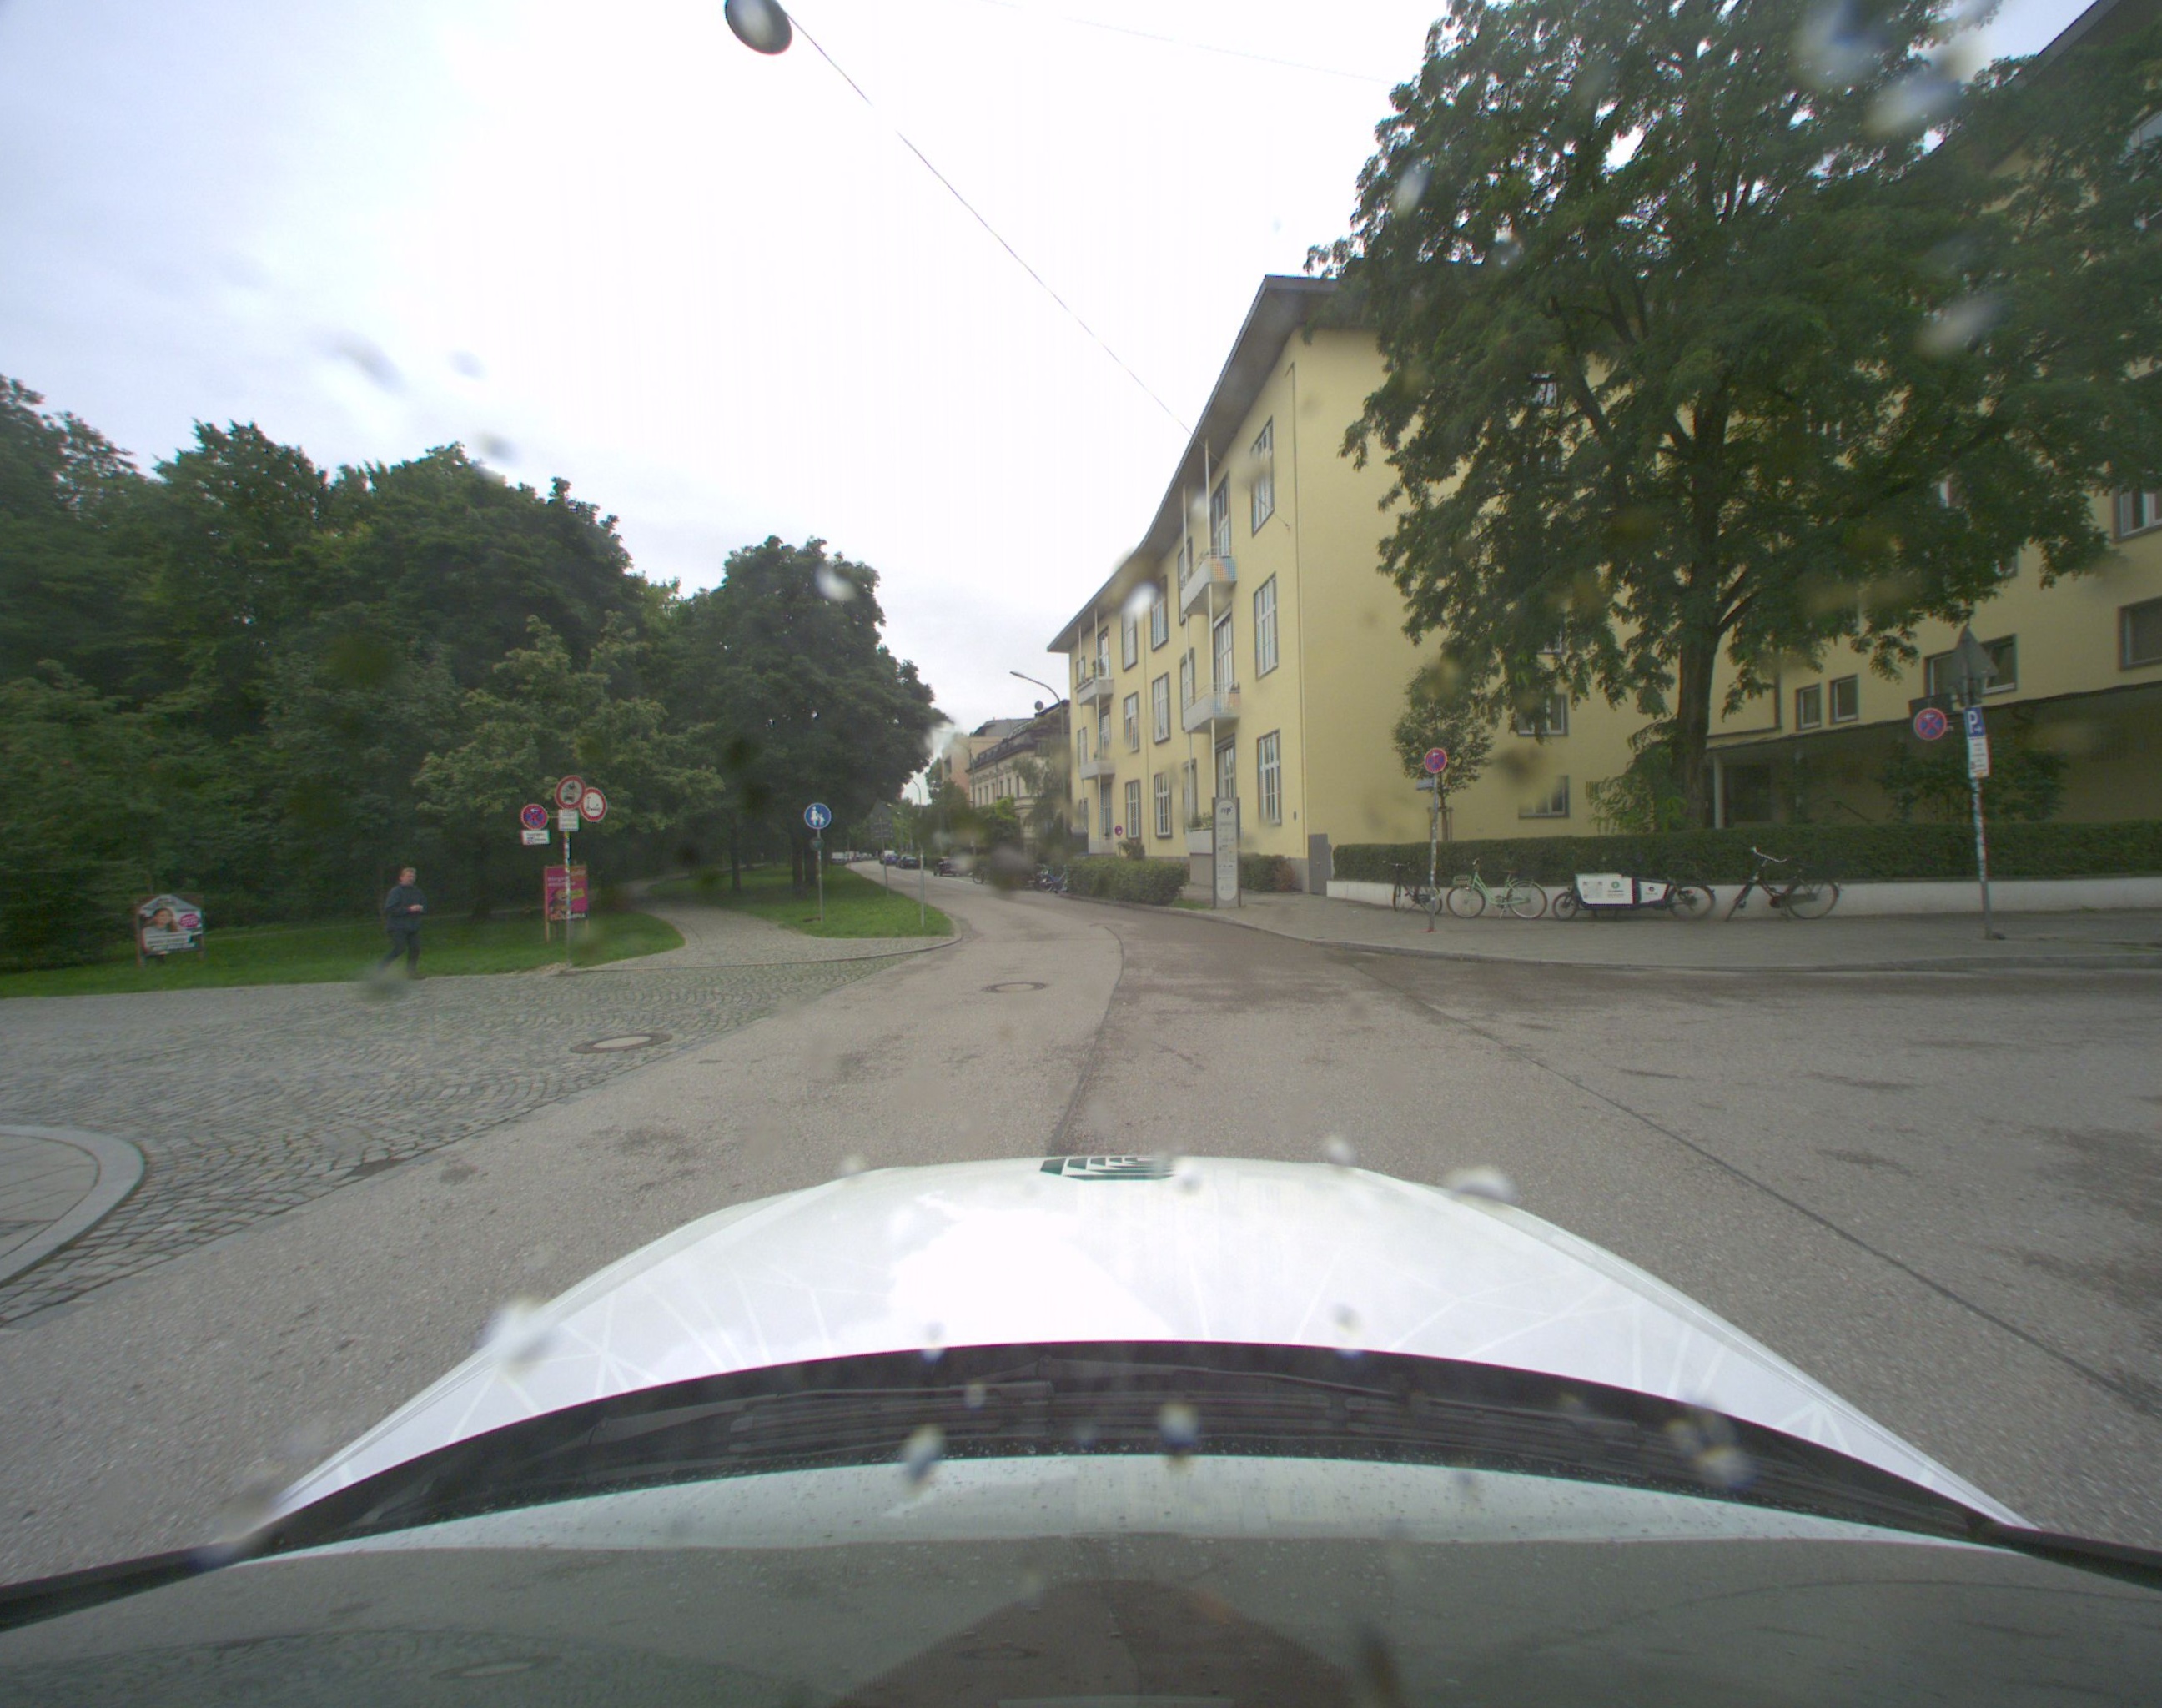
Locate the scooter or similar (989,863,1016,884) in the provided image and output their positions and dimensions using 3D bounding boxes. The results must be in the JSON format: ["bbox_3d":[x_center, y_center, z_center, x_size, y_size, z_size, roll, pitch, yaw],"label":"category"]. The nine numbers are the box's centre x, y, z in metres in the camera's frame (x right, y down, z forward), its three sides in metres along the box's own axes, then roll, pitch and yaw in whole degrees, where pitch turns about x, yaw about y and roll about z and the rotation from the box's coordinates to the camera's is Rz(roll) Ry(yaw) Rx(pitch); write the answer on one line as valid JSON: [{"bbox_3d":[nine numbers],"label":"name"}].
[{"bbox_3d":[-4.386,1.106,45.699,1.400,1.088,0.597,-2,0,0],"label":"scooter or similar"}]

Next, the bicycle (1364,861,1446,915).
[{"bbox_3d":[7.047,0.712,17.863,0.608,1.072,2.210,-2,0,-9],"label":"bicycle"}]

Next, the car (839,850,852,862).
[{"bbox_3d":[-39.268,0.394,135.823,1.999,1.837,3.976,-3,0,-17],"label":"car"}]

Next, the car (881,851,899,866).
[{"bbox_3d":[-24.700,0.654,105.373,1.881,1.816,3.975,-3,0,-18],"label":"car"}]

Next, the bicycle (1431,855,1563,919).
[{"bbox_3d":[7.846,0.606,15.480,0.612,1.117,2.194,-1,0,-34],"label":"bicycle"}]

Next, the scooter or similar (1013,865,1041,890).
[{"bbox_3d":[-2.546,1.092,38.441,0.490,1.088,1.419,-2,0,35],"label":"scooter or similar"}]

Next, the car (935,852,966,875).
[{"bbox_3d":[-9.971,0.724,62.070,1.867,1.633,4.261,-3,0,-15],"label":"car"}]

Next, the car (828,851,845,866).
[{"bbox_3d":[-31.162,0.600,103.796,1.999,1.837,3.976,-3,0,-17],"label":"car"}]

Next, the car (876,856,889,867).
[{"bbox_3d":[-30.630,1.170,125.545,1.649,1.652,4.259,-1,0,-17],"label":"car"}]

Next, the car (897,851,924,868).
[{"bbox_3d":[-18.063,0.609,86.118,2.183,1.657,4.478,-3,0,-18],"label":"car"}]

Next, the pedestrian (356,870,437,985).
[{"bbox_3d":[-10.916,1.142,13.014,0.730,1.752,0.656,-2,0,-14],"label":"pedestrian"}]

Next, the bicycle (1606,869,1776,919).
[{"bbox_3d":[10.128,0.665,13.625,2.189,0.779,0.614,-1,0,28],"label":"bicycle"}]

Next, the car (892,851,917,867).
[{"bbox_3d":[-19.930,0.606,91.721,2.183,1.657,4.478,-3,0,-18],"label":"car"}]

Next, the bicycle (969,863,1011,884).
[{"bbox_3d":[-5.304,1.144,47.532,2.341,1.085,0.687,-2,0,-23],"label":"bicycle"}]

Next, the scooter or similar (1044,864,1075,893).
[{"bbox_3d":[-0.870,1.020,33.730,0.490,1.109,1.419,-2,0,35],"label":"scooter or similar"}]

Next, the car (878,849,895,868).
[{"bbox_3d":[-27.386,0.681,114.753,1.881,2.568,4.901,-1,0,-18],"label":"car"}]

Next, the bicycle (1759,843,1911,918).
[{"bbox_3d":[12.198,0.429,13.225,1.723,1.150,0.612,-1,0,11],"label":"bicycle"}]

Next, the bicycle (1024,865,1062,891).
[{"bbox_3d":[-1.736,1.075,37.391,0.570,1.085,1.946,-2,0,39],"label":"bicycle"}]

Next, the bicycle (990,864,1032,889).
[{"bbox_3d":[-3.391,1.068,39.650,0.689,1.085,2.354,-2,0,32],"label":"bicycle"}]

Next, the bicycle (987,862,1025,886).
[{"bbox_3d":[-3.808,1.004,41.505,0.755,1.085,2.155,-2,0,32],"label":"bicycle"}]

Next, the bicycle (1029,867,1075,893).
[{"bbox_3d":[-1.248,1.120,35.092,1.829,1.005,0.573,-2,0,-20],"label":"bicycle"}]

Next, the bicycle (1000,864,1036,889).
[{"bbox_3d":[-2.995,1.053,38.854,0.631,1.085,1.998,-2,0,32],"label":"bicycle"}]

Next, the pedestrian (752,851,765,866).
[{"bbox_3d":[-44.655,0.606,112.800,1.022,1.945,1.336,-2,0,40],"label":"pedestrian"}]

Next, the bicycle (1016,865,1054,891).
[{"bbox_3d":[-2.138,1.105,38.019,0.570,1.085,1.946,-2,0,39],"label":"bicycle"}]
